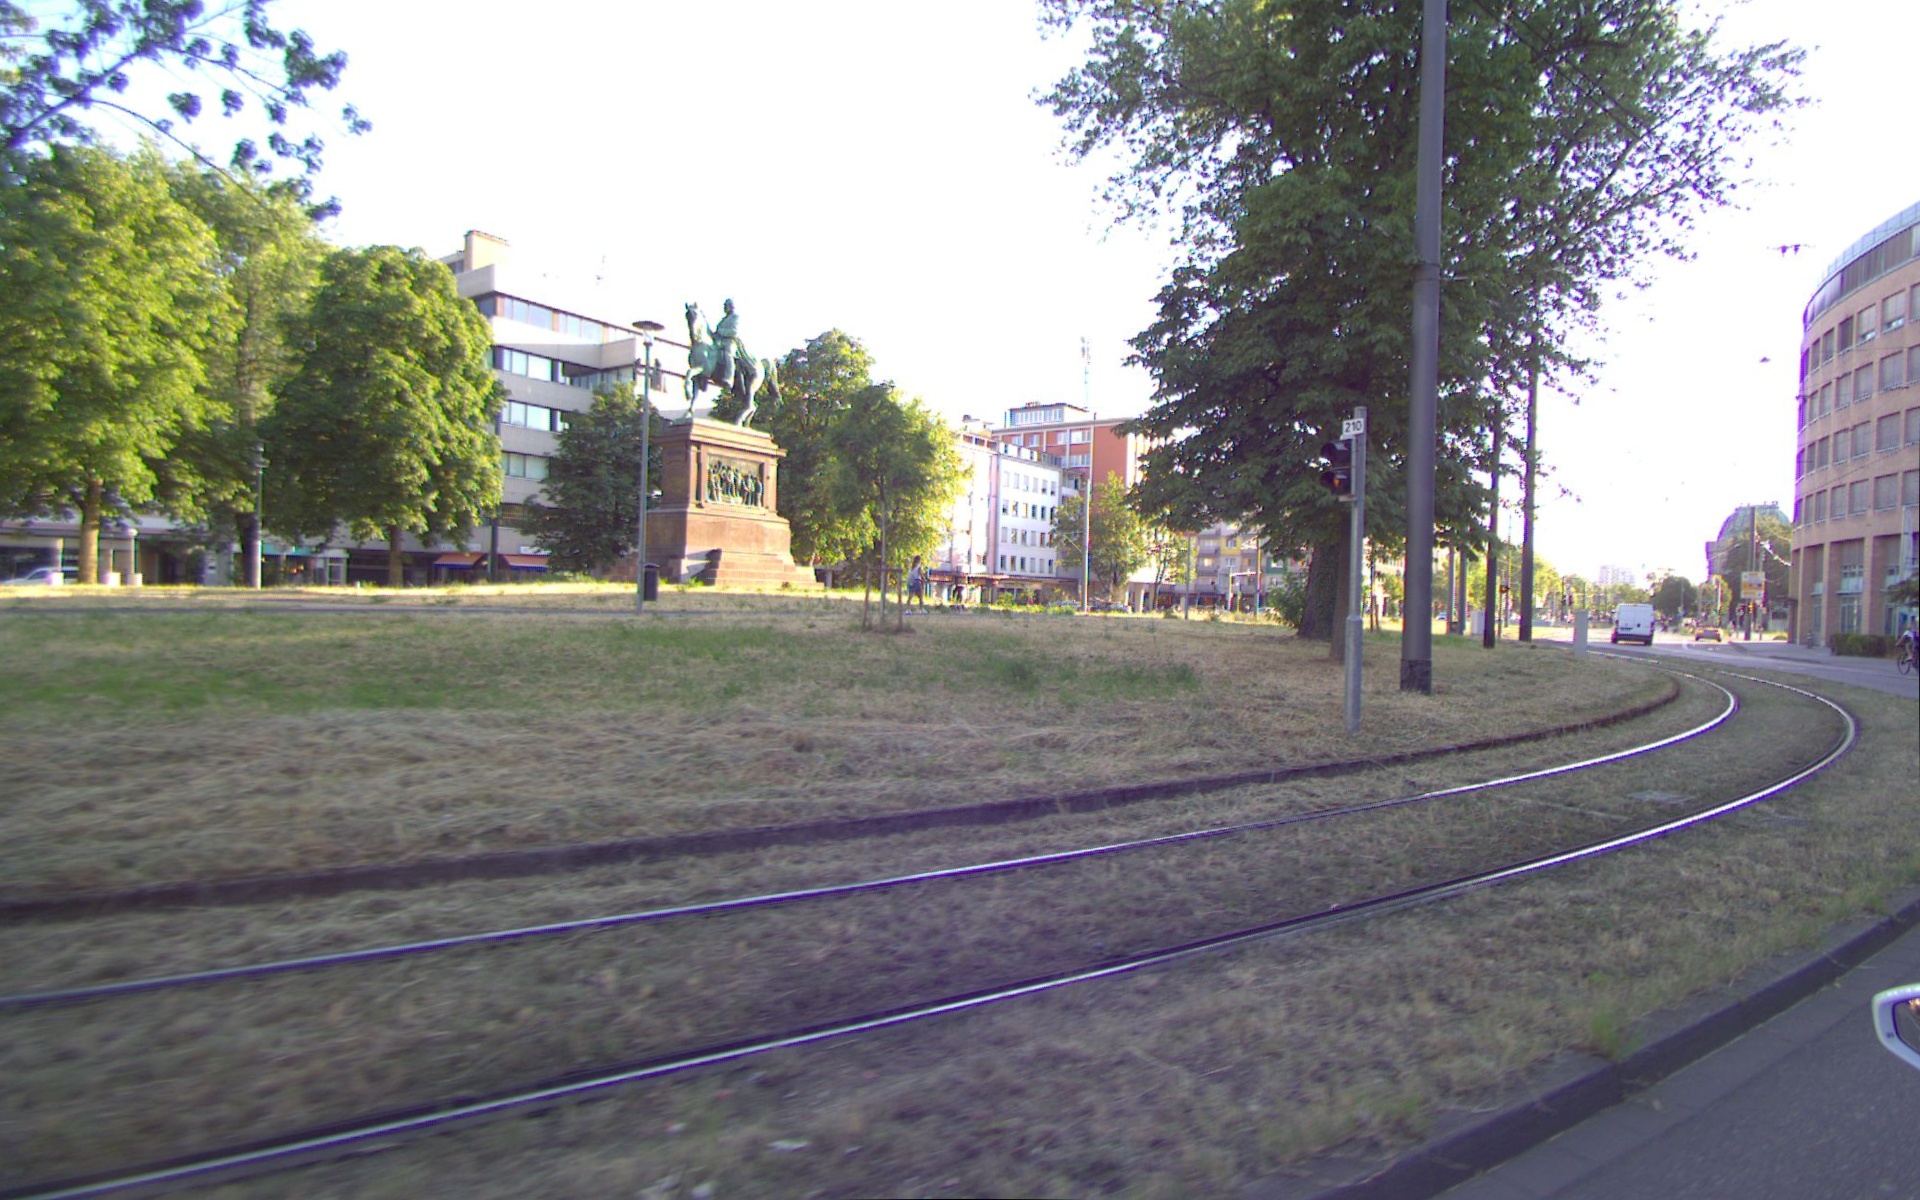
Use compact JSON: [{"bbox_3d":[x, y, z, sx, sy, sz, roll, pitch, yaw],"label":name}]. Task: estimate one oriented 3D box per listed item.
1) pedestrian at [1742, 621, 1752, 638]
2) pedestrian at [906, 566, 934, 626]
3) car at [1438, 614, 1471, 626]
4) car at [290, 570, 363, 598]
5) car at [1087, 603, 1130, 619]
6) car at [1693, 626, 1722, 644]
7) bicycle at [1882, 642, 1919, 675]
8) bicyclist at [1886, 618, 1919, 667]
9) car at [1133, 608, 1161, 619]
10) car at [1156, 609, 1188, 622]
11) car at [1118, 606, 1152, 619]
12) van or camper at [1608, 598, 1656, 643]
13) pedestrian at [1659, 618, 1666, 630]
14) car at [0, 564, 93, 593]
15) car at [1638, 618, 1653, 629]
[{"bbox_3d":[76.040,2.872,97.103,0.667,1.590,0.798,2,1,34],"label":"pedestrian"},{"bbox_3d":[-1.155,-0.109,28.910,0.467,1.712,0.835,1,0,22],"label":"pedestrian"},{"bbox_3d":[71.727,2.897,145.712,3.920,1.453,1.718,2,2,3],"label":"car"},{"bbox_3d":[-43.382,-1.077,68.872,4.161,1.819,1.923,0,1,-31],"label":"car"},{"bbox_3d":[15.127,1.130,102.333,4.243,1.547,1.745,0,1,-31],"label":"car"},{"bbox_3d":[63.151,2.937,84.915,1.760,1.372,4.252,3,1,35],"label":"car"},{"bbox_3d":[30.425,1.873,32.267,0.506,0.967,1.775,3,1,20],"label":"bicycle"},{"bbox_3d":[30.395,1.357,32.159,0.644,1.503,1.038,4,1,19],"label":"bicyclist"},{"bbox_3d":[29.291,2.105,157.221,3.809,1.606,1.799,1,1,32],"label":"car"},{"bbox_3d":[28.857,2.115,136.842,3.809,1.606,1.799,1,1,32],"label":"car"},{"bbox_3d":[24.744,1.775,142.153,4.219,1.606,1.984,1,1,32],"label":"car"},{"bbox_3d":[42.376,1.221,63.316,2.234,2.660,4.485,2,1,37],"label":"van or camper"},{"bbox_3d":[85.778,2.934,122.681,0.609,1.495,0.796,2,1,41],"label":"pedestrian"},{"bbox_3d":[-55.957,-1.324,61.609,3.954,1.686,1.745,0,1,-31],"label":"car"},{"bbox_3d":[106.557,3.603,156.075,1.769,1.587,3.990,1,1,32],"label":"car"}]
